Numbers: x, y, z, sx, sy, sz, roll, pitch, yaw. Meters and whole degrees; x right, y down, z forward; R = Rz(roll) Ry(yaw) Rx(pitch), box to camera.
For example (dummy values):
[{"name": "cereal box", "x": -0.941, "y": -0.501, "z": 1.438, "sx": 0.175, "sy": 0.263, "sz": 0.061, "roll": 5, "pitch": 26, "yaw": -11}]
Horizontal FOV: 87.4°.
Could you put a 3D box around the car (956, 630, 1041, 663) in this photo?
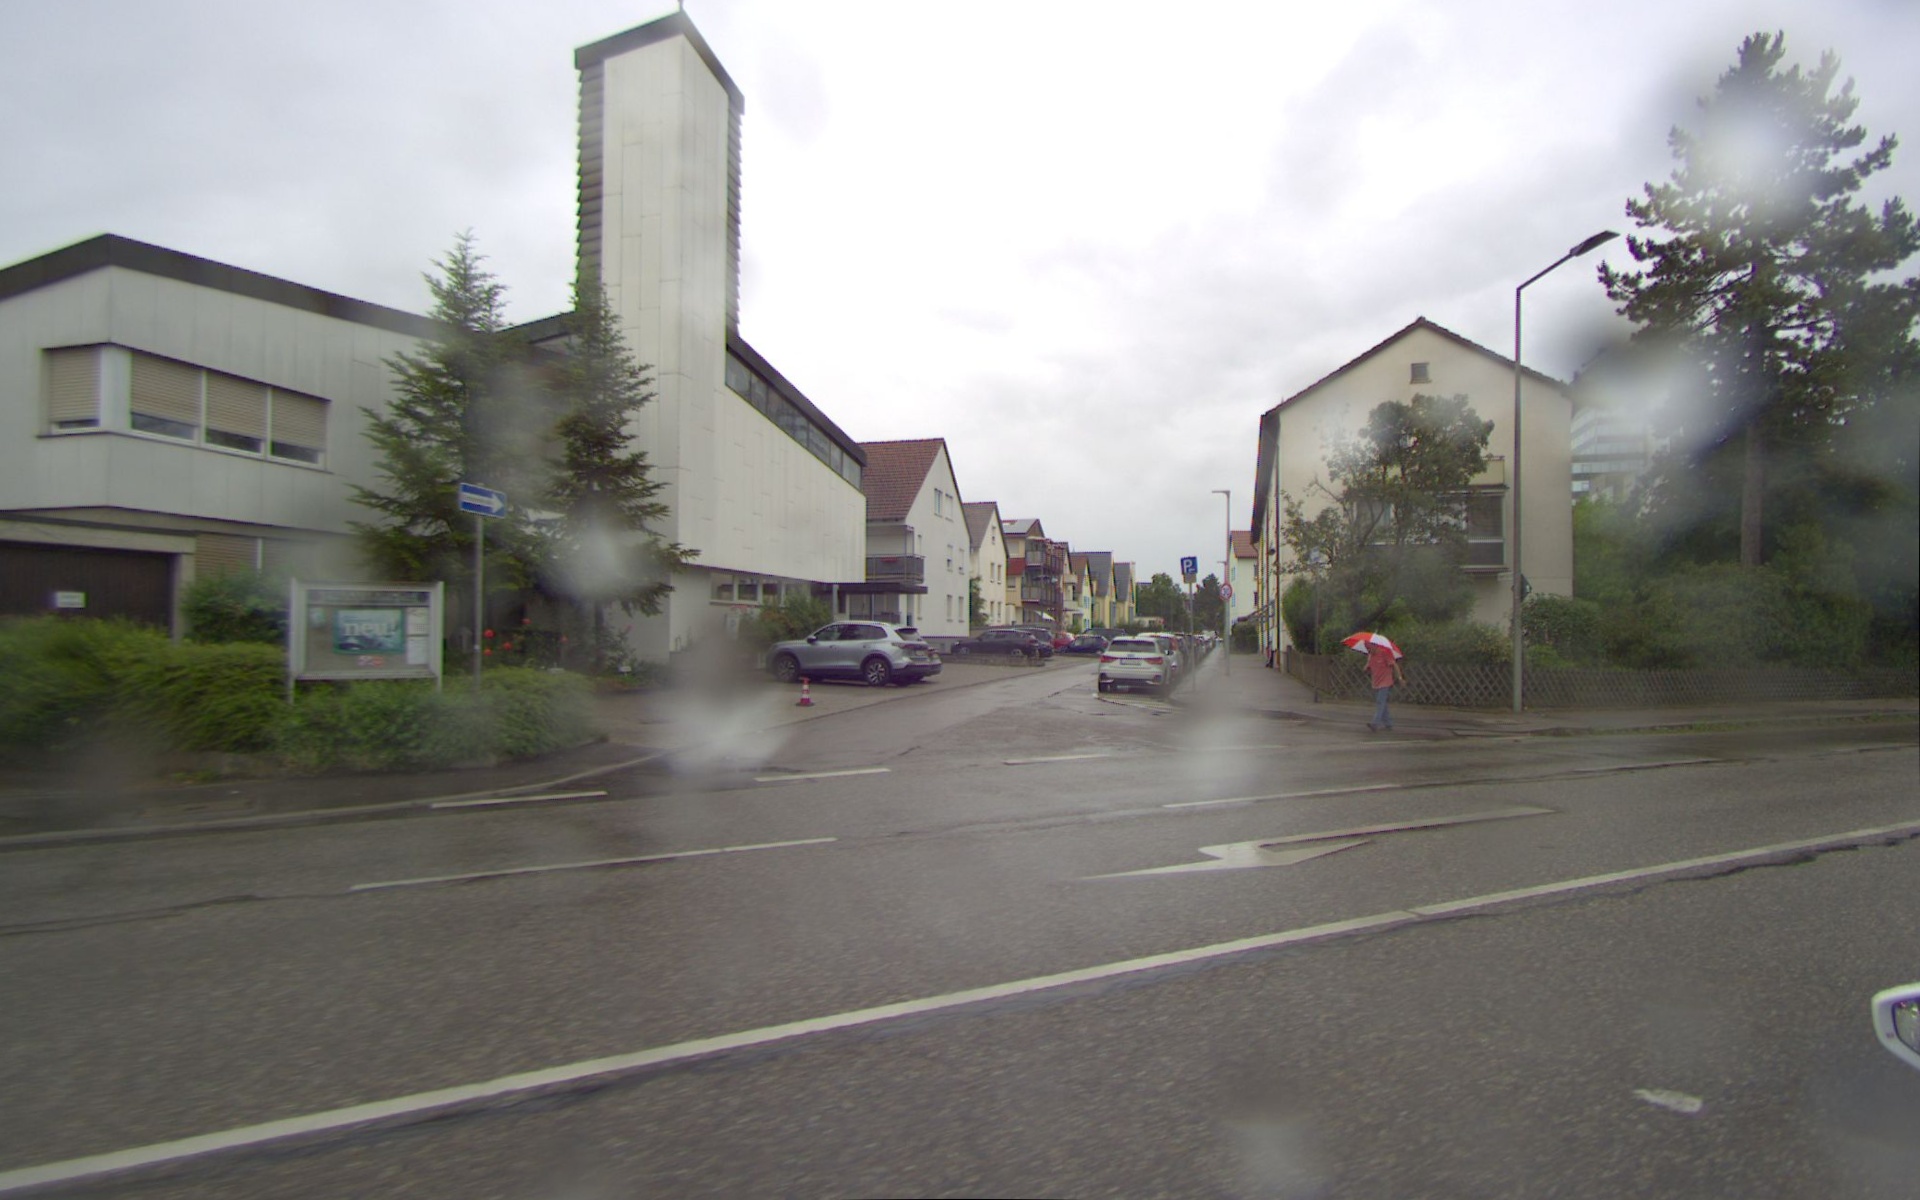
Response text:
[{"name": "car", "x": 1.849, "y": 2.210, "z": 48.230, "sx": 3.746, "sy": 1.466, "sz": 1.788, "roll": 0, "pitch": -2, "yaw": 18}]

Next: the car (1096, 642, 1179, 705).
[{"name": "car", "x": 4.751, "y": 1.862, "z": 26.521, "sx": 1.751, "sy": 1.466, "sz": 4.004, "roll": 0, "pitch": -2, "yaw": 16}]

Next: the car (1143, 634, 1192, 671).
[{"name": "car", "x": 8.820, "y": 2.168, "z": 42.467, "sx": 1.751, "sy": 1.466, "sz": 3.824, "roll": 0, "pitch": -2, "yaw": 16}]

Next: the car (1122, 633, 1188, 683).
[{"name": "car", "x": 6.287, "y": 1.802, "z": 32.121, "sx": 1.751, "sy": 1.466, "sz": 3.824, "roll": 0, "pitch": -2, "yaw": 16}]

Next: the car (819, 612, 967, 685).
[{"name": "car", "x": -1.970, "y": 1.400, "z": 29.751, "sx": 3.922, "sy": 2.040, "sz": 2.000, "roll": -1, "pitch": -2, "yaw": 21}]

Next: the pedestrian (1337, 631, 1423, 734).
[{"name": "pedestrian", "x": 6.971, "y": 1.350, "z": 16.682, "sx": 1.092, "sy": 1.628, "sz": 0.864, "roll": 2, "pitch": -2, "yaw": -34}]

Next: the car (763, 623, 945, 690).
[{"name": "car", "x": -2.789, "y": 1.453, "z": 26.661, "sx": 4.302, "sy": 1.636, "sz": 2.132, "roll": 0, "pitch": -2, "yaw": 22}]

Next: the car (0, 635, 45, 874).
[{"name": "car", "x": -7.458, "y": 0.921, "z": 5.011, "sx": 3.952, "sy": 1.427, "sz": 1.690, "roll": 0, "pitch": -4, "yaw": -30}]
